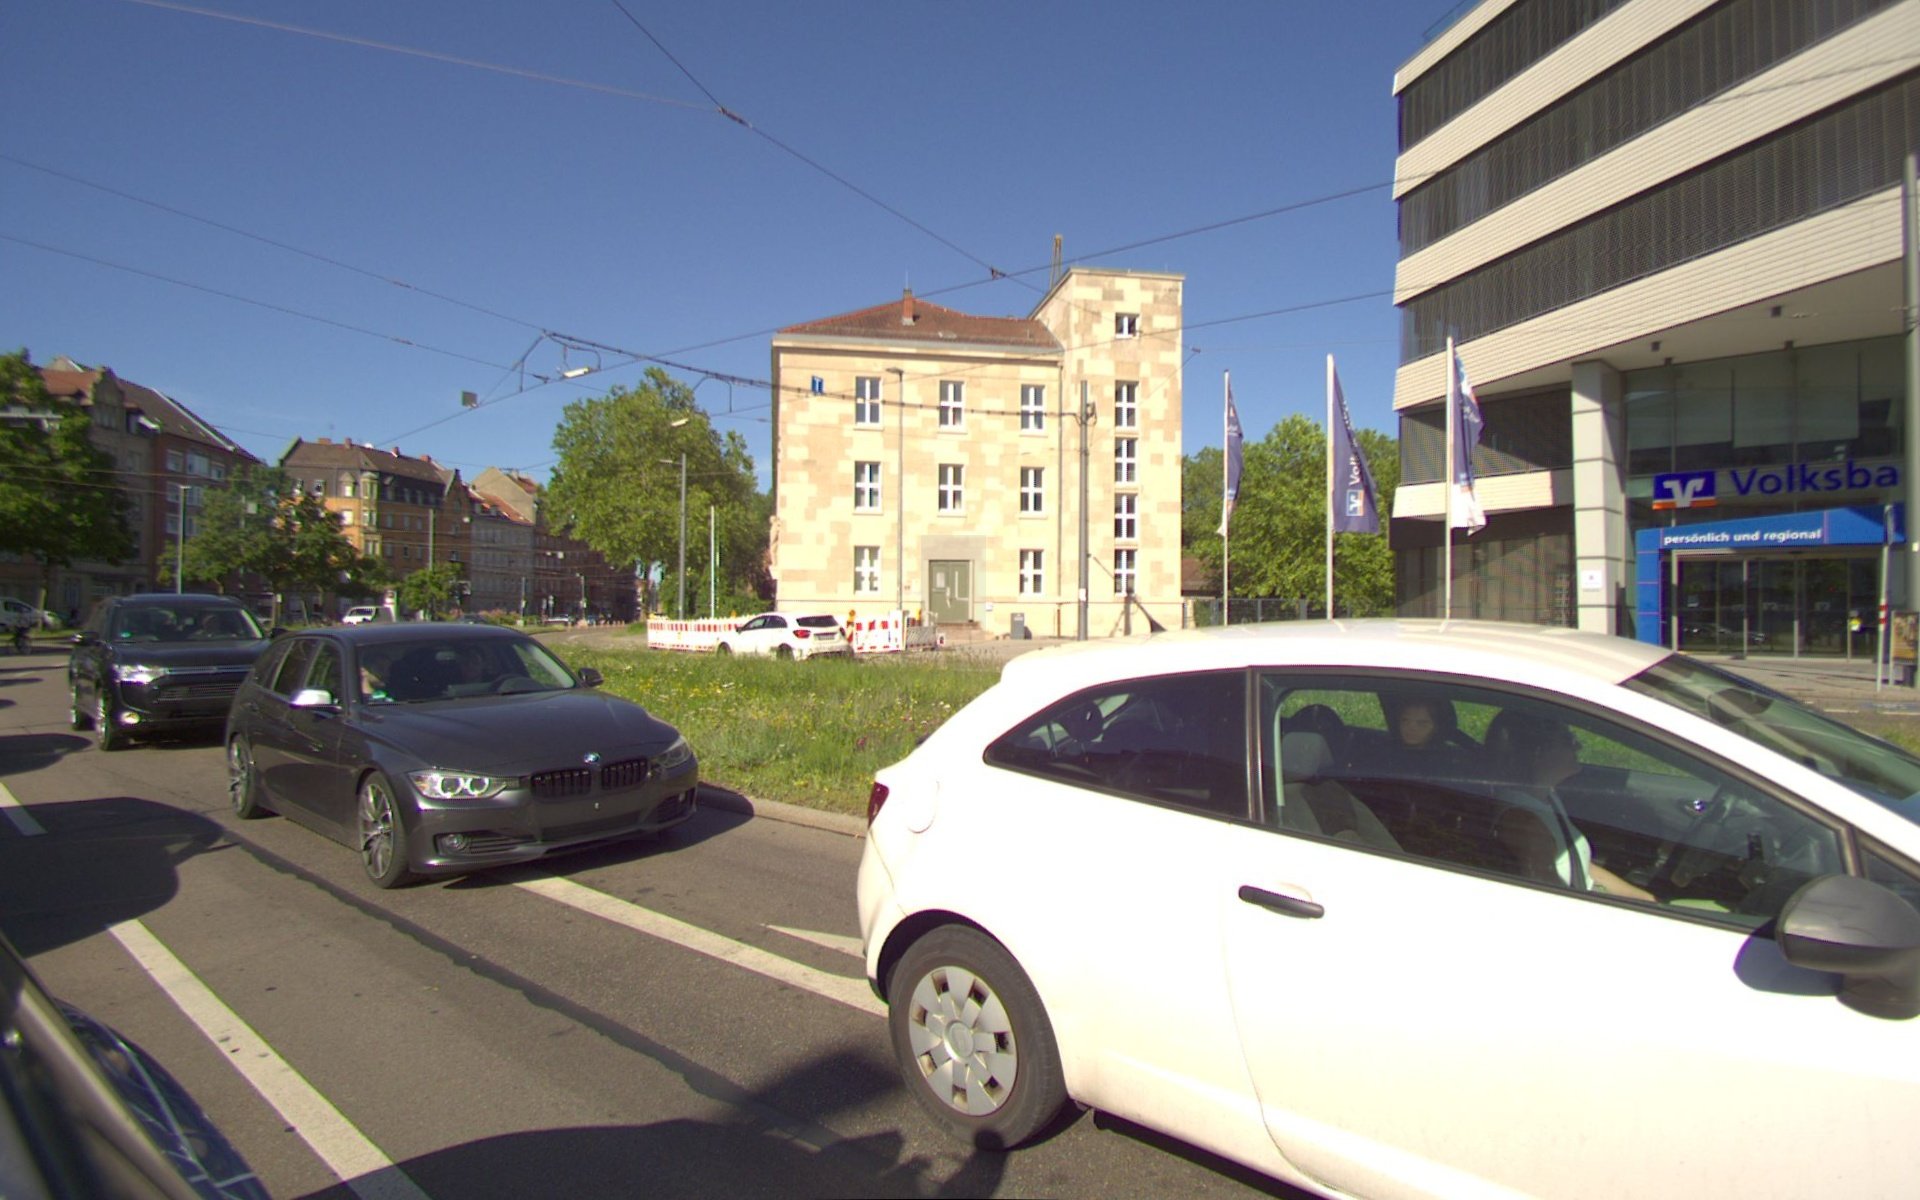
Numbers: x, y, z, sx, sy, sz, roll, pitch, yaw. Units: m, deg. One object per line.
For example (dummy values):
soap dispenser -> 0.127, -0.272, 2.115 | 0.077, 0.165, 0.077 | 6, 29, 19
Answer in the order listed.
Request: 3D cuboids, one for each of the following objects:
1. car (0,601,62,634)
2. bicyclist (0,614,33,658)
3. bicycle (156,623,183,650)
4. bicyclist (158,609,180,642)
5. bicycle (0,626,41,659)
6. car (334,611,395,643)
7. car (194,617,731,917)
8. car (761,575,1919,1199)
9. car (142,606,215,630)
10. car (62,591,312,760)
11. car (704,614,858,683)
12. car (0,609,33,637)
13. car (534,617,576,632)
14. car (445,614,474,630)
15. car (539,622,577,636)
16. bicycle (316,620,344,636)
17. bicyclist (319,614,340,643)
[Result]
car -> -49.932, 0.887, 52.797 | 4.514, 1.680, 1.601 | 2, -2, -43
bicyclist -> -35.792, 1.340, 38.301 | 0.657, 1.641, 0.974 | 0, -1, -18
bicycle -> -41.057, 1.864, 52.564 | 0.724, 1.371, 2.082 | 1, -1, -28
bicyclist -> -41.003, 1.323, 52.486 | 0.723, 1.707, 0.974 | 1, -1, -28
bicycle -> -35.800, 1.586, 38.333 | 0.657, 1.206, 2.161 | 0, -1, -19
car -> -41.447, 1.854, 70.562 | 1.952, 2.101, 4.721 | 1, -1, -7
car -> -3.600, 0.827, 6.884 | 4.424, 1.377, 1.719 | -1, 0, 41
car -> 1.479, 0.694, 2.485 | 4.020, 1.452, 1.714 | 0, 2, 40
car -> -53.933, 1.269, 69.879 | 3.771, 1.603, 1.601 | 2, -2, -44
car -> -9.382, 0.772, 12.135 | 1.817, 1.658, 4.400 | -1, -1, -45
car -> -4.728, 1.210, 26.401 | 4.181, 1.658, 1.800 | -2, -2, 42
car -> -48.767, 1.148, 50.390 | 3.768, 1.390, 1.602 | 2, -2, -41
car -> -46.040, 2.772, 115.119 | 4.021, 1.669, 1.763 | 1, -1, 7
car -> -46.833, 2.061, 94.819 | 1.809, 1.483, 4.728 | 1, -1, -19
car -> -47.702, 3.455, 120.122 | 4.001, 1.669, 1.772 | 1, -1, -16
bicycle -> -44.559, 1.967, 71.562 | 0.753, 1.153, 2.286 | 0, -1, -6
bicyclist -> -44.582, 1.995, 71.566 | 0.836, 2.029, 1.198 | 0, -1, -5
